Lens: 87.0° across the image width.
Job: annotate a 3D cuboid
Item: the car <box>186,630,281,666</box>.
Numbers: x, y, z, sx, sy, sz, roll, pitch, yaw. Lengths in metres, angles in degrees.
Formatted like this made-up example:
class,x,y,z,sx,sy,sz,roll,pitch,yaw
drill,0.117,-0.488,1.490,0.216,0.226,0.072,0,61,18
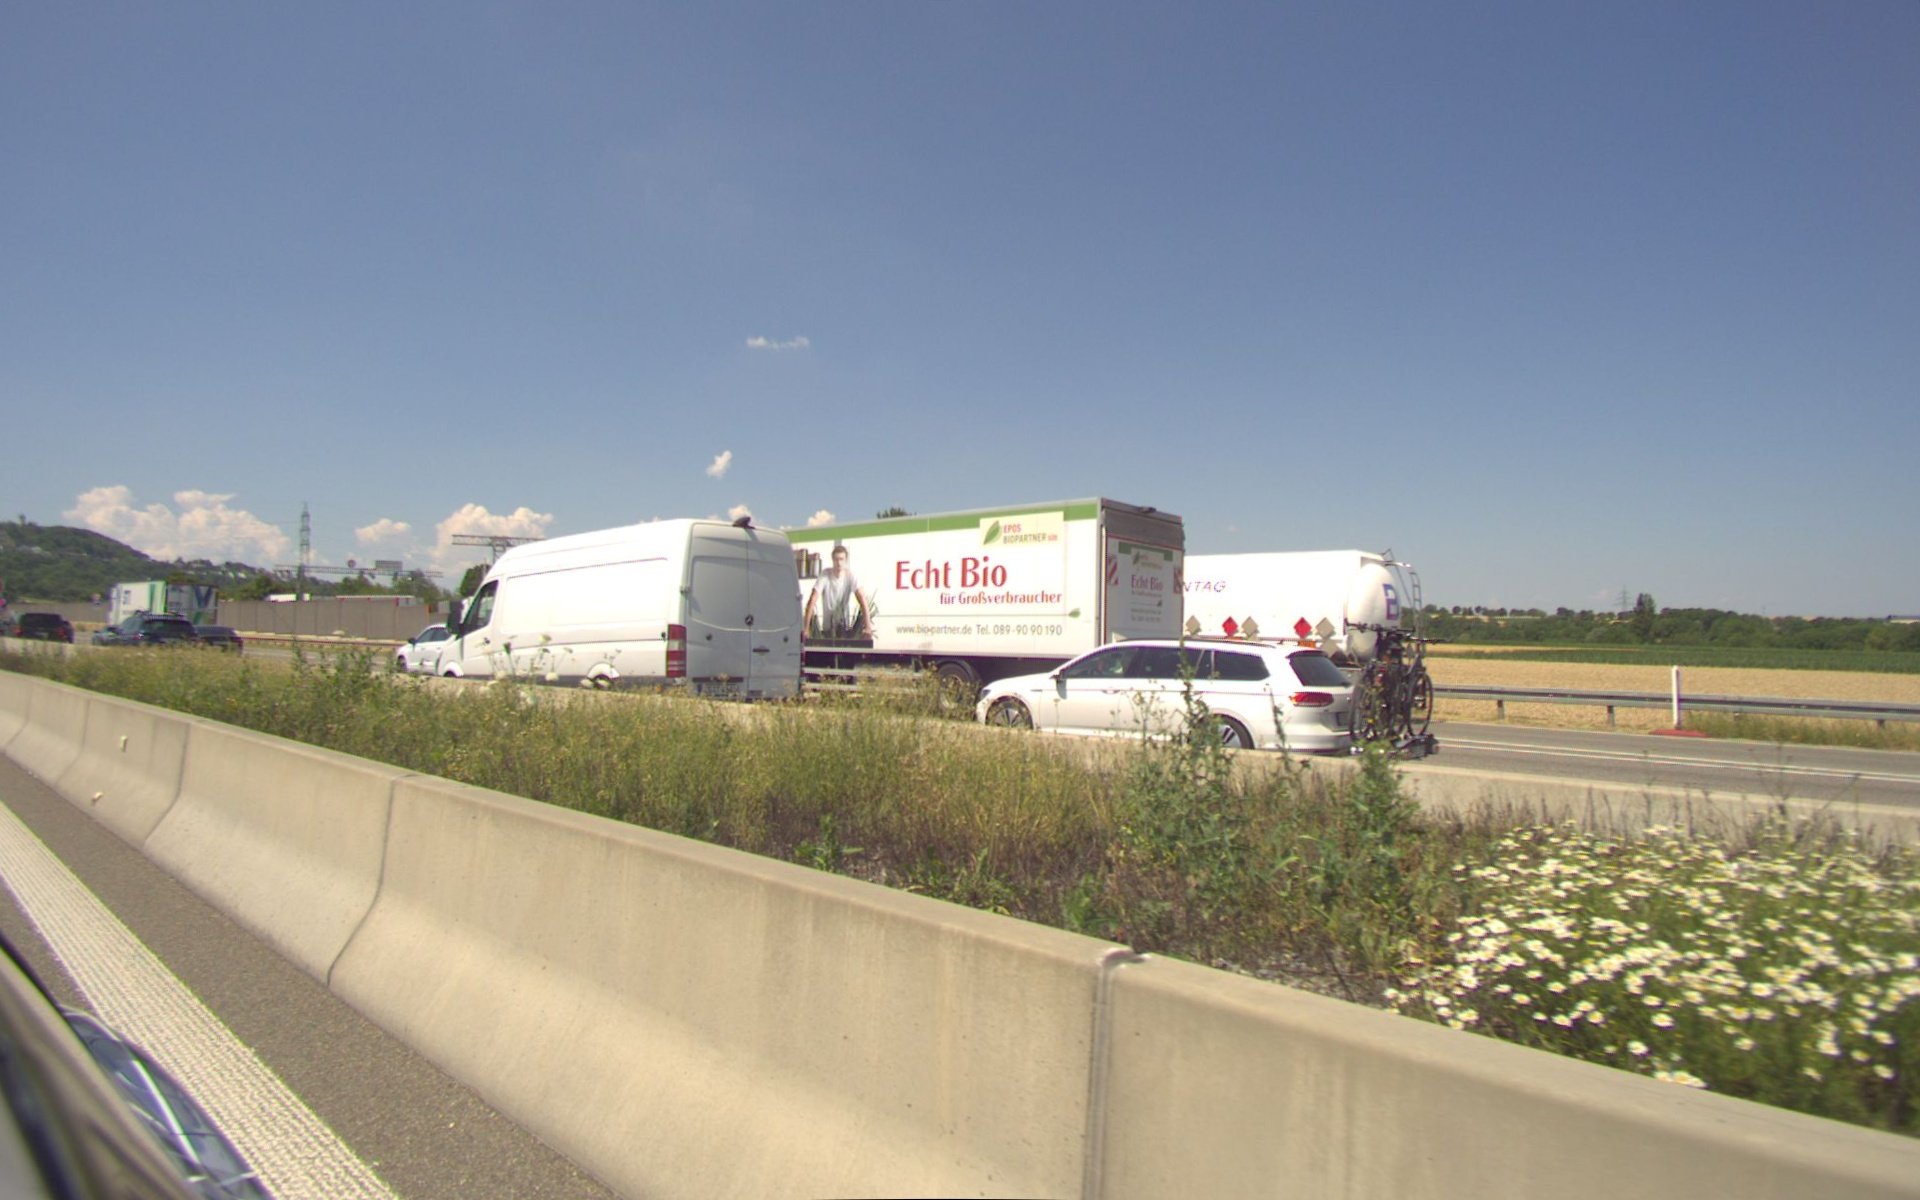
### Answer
class,x,y,z,sx,sy,sz,roll,pitch,yaw
car,-29.444,1.905,40.946,5.082,1.397,1.993,-1,-3,41

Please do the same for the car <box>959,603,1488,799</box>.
class,x,y,z,sx,sy,sz,roll,pitch,yaw
car,2.700,0.989,11.419,5.517,1.723,1.867,-1,-4,40

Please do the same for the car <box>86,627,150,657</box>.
class,x,y,z,sx,sy,sz,roll,pitch,yaw
car,-45.361,2.245,54.479,4.920,1.494,1.827,-1,-5,42

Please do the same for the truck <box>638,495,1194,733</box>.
class,x,y,z,sx,sy,sz,roll,pitch,yaw
truck,-1.813,0.398,20.947,13.284,3.637,2.765,-1,-4,42

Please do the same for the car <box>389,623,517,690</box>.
class,x,y,z,sx,sy,sz,roll,pitch,yaw
car,-13.254,1.427,26.362,4.042,1.635,1.543,-1,-3,41

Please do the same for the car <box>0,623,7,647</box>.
class,x,y,z,sx,sy,sz,roll,pitch,yaw
car,-56.475,1.992,58.511,4.265,1.362,1.638,-1,-2,42

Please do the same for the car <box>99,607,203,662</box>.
class,x,y,z,sx,sy,sz,roll,pitch,yaw
car,-25.245,1.053,31.520,4.539,1.602,1.763,-1,-2,42

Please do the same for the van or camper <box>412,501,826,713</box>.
class,x,y,z,sx,sy,sz,roll,pitch,yaw
van or camper,-5.002,0.137,13.858,7.204,2.238,2.014,-1,-1,41

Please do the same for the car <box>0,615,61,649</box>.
class,x,y,z,sx,sy,sz,roll,pitch,yaw
car,-46.423,1.566,50.408,5.342,1.581,1.824,-1,-2,42

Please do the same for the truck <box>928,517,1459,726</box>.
class,x,y,z,sx,sy,sz,roll,pitch,yaw
truck,4.574,0.638,24.382,2.863,3.806,13.307,5,-4,-41

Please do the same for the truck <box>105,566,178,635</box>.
class,x,y,z,sx,sy,sz,roll,pitch,yaw
truck,-55.367,0.112,68.431,4.900,4.408,2.840,-1,-4,41

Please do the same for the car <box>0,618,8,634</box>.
class,x,y,z,sx,sy,sz,roll,pitch,yaw
car,-91.848,2.451,95.998,4.961,1.497,1.793,-1,-2,41

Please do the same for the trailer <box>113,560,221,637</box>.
class,x,y,z,sx,sy,sz,roll,pitch,yaw
trailer,-50.333,0.056,64.012,12.987,4.408,2.862,-1,-4,41
